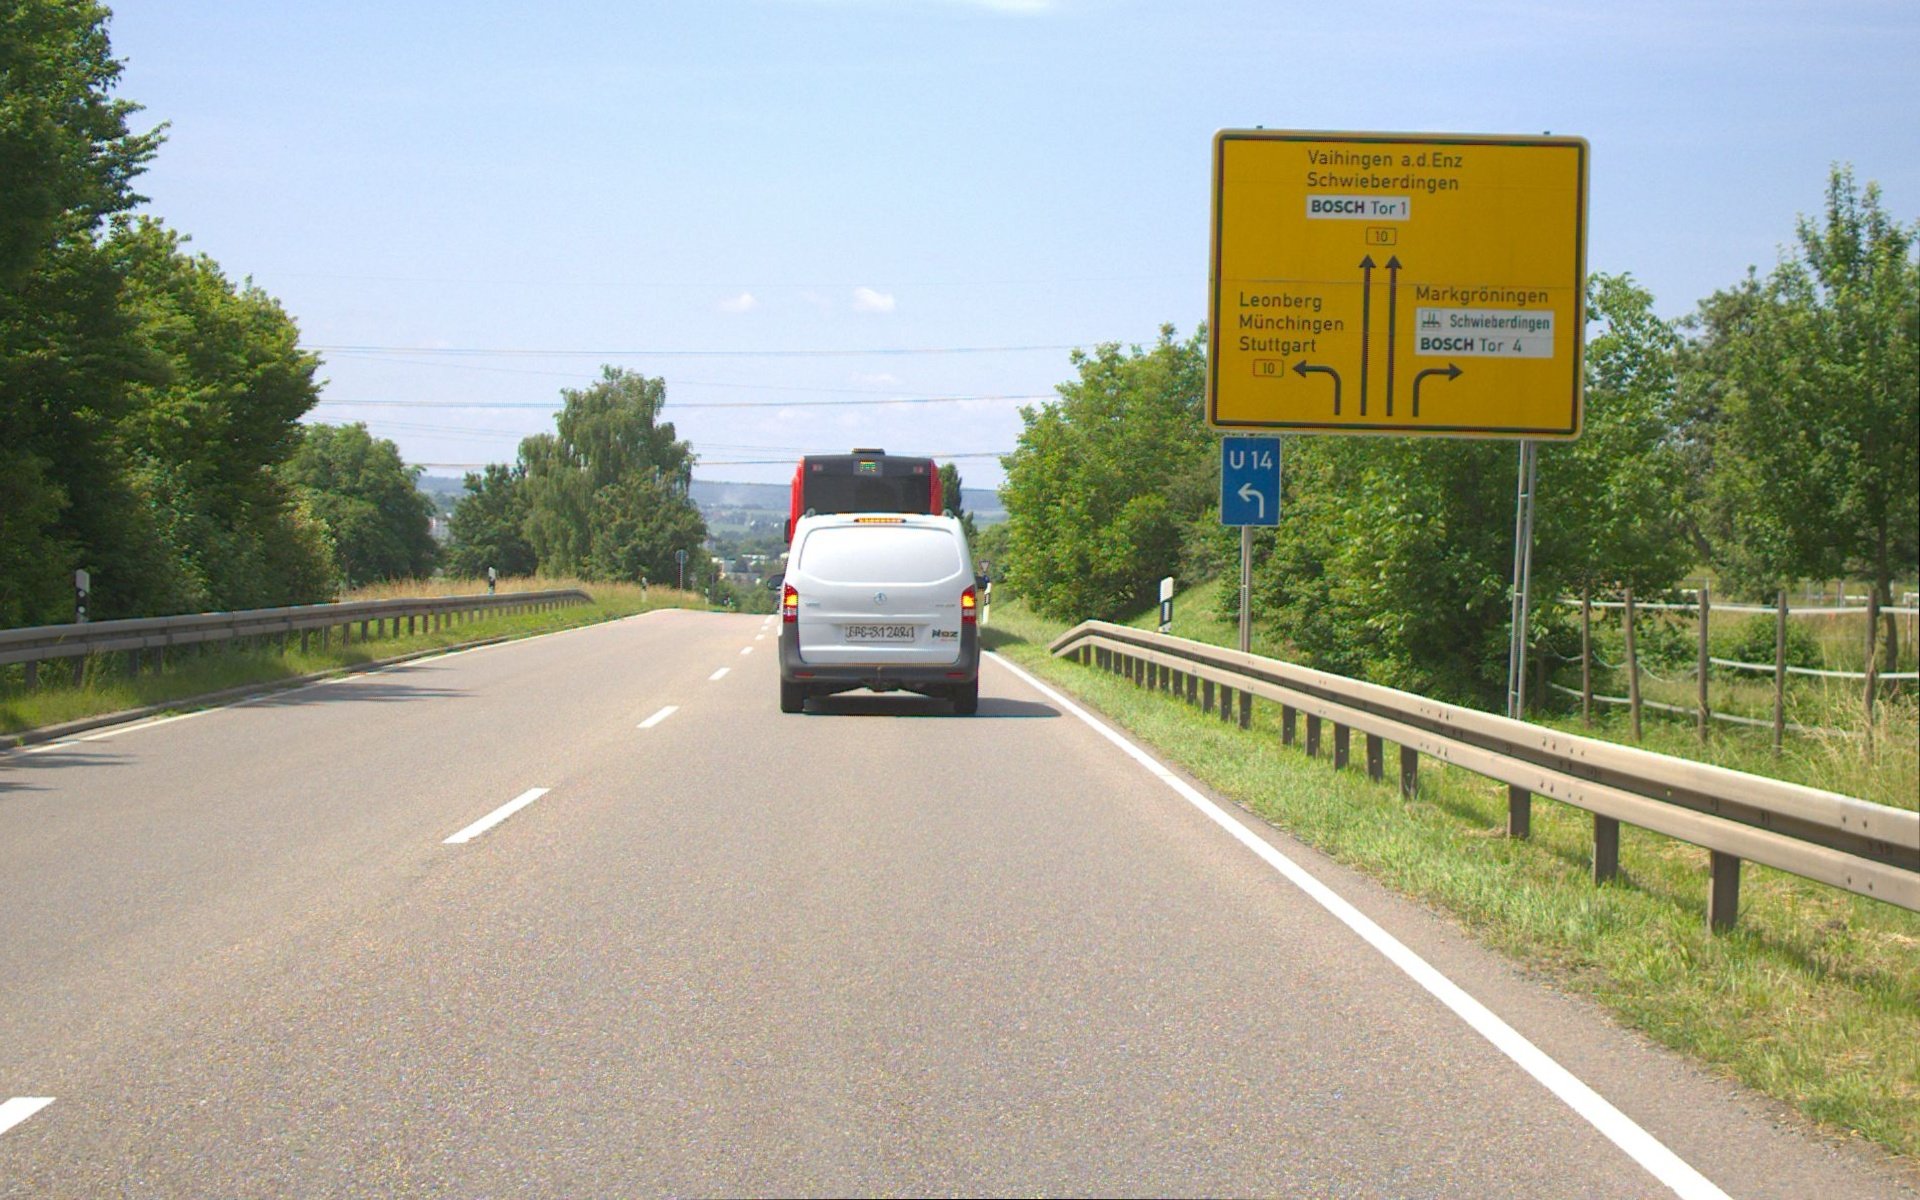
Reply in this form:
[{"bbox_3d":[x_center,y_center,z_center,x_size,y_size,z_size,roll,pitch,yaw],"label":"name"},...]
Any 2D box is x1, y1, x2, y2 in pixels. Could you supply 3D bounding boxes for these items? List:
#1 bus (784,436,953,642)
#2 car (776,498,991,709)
[{"bbox_3d":[-1.746,-1.168,62.731,2.747,3.342,13.223,0,2,-2],"label":"bus"},{"bbox_3d":[-0.788,-0.027,33.475,1.923,1.883,4.001,1,2,-3],"label":"car"}]
